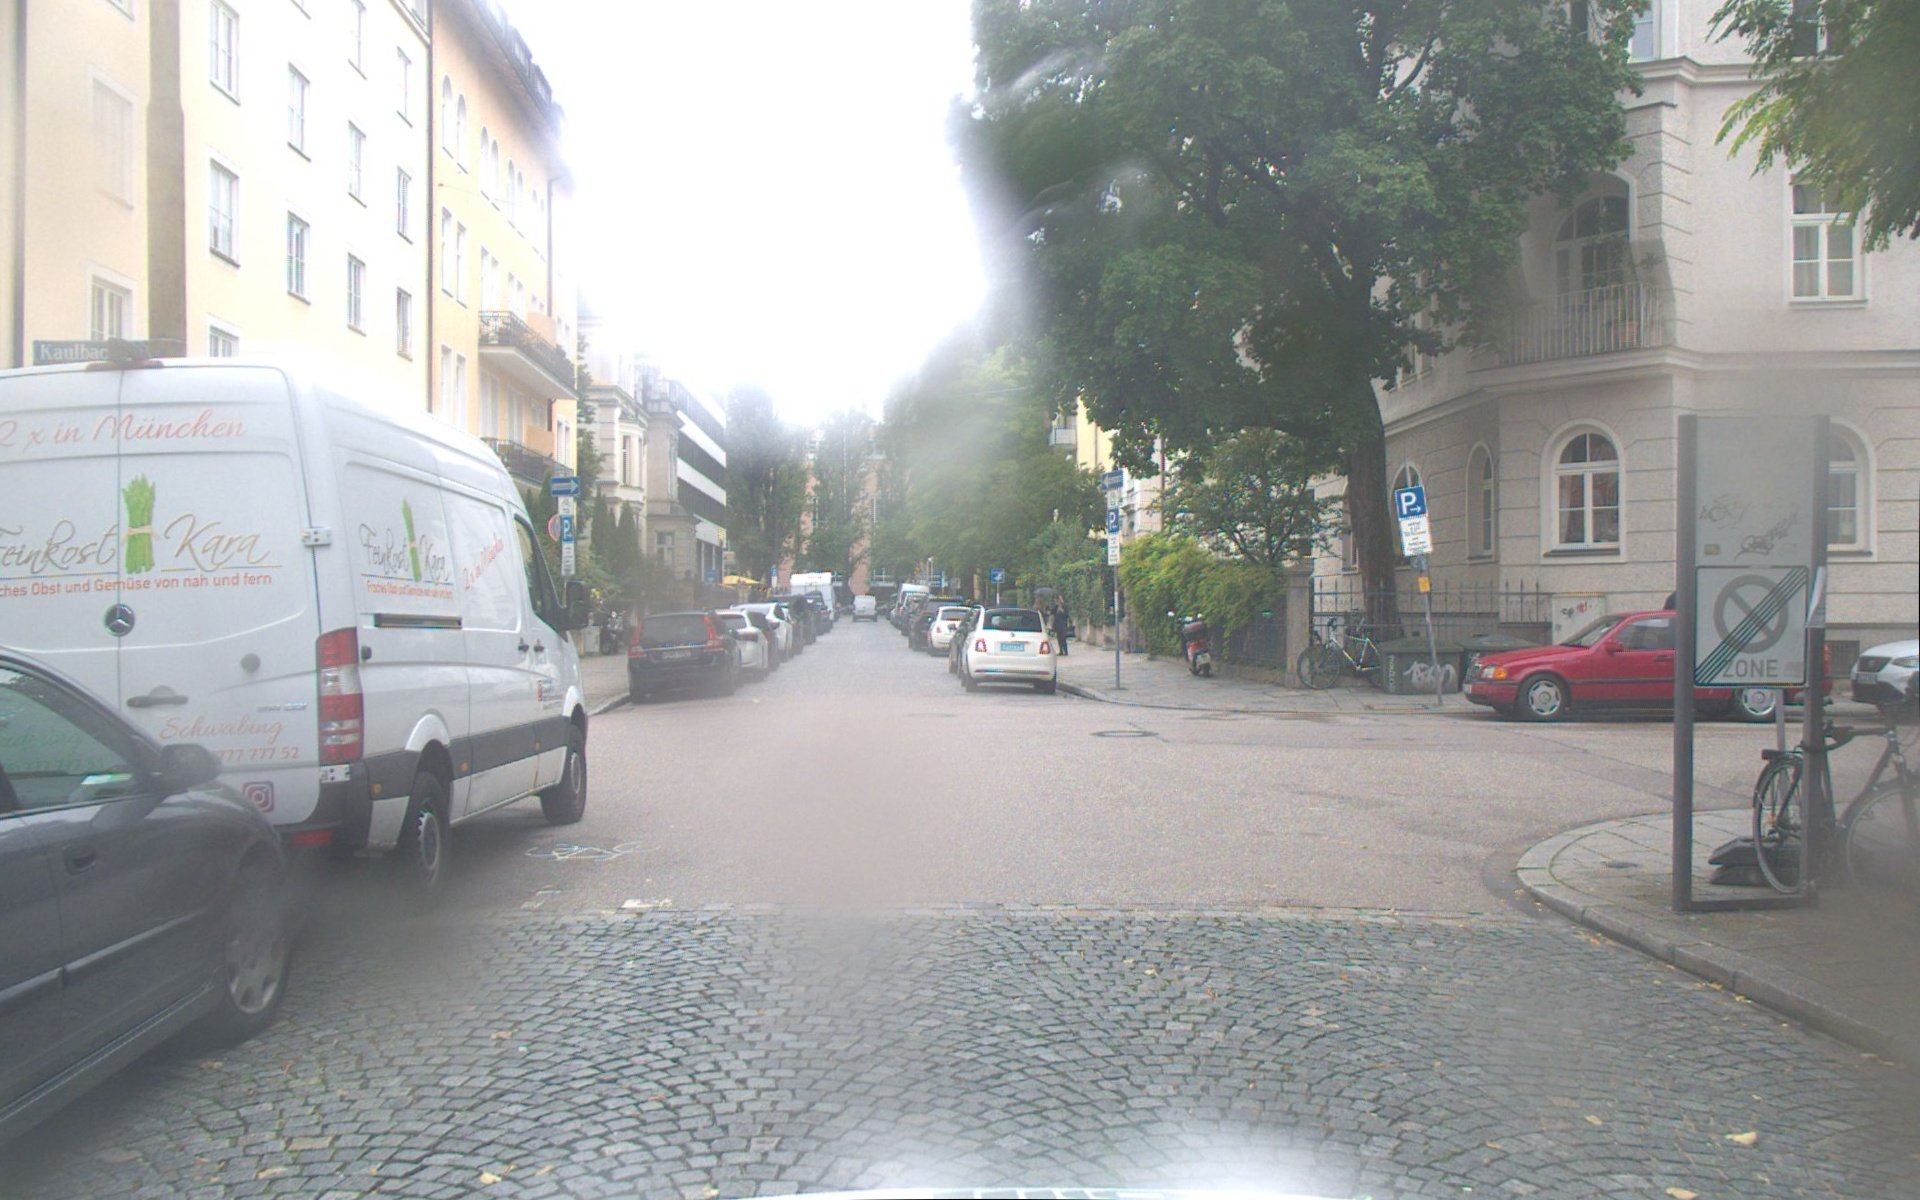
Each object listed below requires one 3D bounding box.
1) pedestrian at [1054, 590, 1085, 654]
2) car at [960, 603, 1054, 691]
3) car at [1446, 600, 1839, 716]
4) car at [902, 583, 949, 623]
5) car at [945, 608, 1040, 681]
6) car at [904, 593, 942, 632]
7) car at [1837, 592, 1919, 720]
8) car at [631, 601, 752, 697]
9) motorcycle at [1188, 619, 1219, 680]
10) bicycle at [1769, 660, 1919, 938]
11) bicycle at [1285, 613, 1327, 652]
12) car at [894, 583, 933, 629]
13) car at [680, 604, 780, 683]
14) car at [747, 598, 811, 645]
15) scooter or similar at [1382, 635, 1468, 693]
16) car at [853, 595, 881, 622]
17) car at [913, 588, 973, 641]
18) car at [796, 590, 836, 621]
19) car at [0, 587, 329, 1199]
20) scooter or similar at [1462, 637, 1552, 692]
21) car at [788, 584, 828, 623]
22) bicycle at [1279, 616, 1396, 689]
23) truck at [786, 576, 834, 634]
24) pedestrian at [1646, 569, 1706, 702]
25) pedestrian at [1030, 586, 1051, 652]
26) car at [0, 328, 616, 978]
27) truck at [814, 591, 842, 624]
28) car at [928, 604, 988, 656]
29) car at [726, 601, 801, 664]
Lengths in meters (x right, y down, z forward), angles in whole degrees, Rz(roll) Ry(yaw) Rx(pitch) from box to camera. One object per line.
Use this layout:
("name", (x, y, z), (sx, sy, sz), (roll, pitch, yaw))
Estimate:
("pedestrian", (3.167, 0.640, 47.821), (0.649, 1.840, 0.626), (0, -1, 43))
("car", (0.809, 0.823, 30.387), (1.471, 1.497, 3.793), (1, 0, -2))
("car", (8.738, 0.730, 21.463), (4.373, 1.382, 1.761), (-1, 0, 4))
("car", (-1.617, 0.145, 76.368), (1.924, 1.789, 4.950), (0, 0, -4))
("car", (0.666, 0.936, 36.851), (1.616, 1.447, 4.628), (3, 0, -4))
("car", (-2.024, 0.658, 89.540), (1.765, 1.983, 4.856), (2, 0, -4))
("car", (13.323, 0.664, 20.736), (3.805, 1.548, 1.566), (0, 0, 2))
("car", (-4.806, 0.827, 30.190), (1.816, 1.614, 4.743), (0, 0, -5))
("motorcycle", (4.594, 0.919, 31.210), (0.355, 1.109, 1.403), (0, 0, -1))
("bicycle", (4.443, 0.901, 7.971), (0.380, 1.167, 1.590), (-1, 0, 4))
("bicycle", (7.525, 0.693, 36.046), (0.481, 0.826, 2.274), (0, 0, 1))
("car", (-2.686, 0.291, 95.029), (1.858, 2.469, 5.607), (3, 0, -4))
("car", (-4.822, 0.865, 35.126), (1.738, 1.563, 4.537), (0, 0, -3))
("car", (-5.748, 0.671, 52.873), (1.738, 1.454, 4.388), (0, 0, -3))
("scooter or similar", (7.285, 0.998, 25.974), (1.158, 0.863, 0.925), (0, 0, 6))
("car", (-6.717, 0.617, 119.936), (1.956, 1.970, 3.998), (0, 0, -2))
("car", (-0.621, 0.467, 56.011), (1.837, 1.702, 5.488), (0, 0, -3))
("car", (-7.112, 0.287, 82.067), (1.902, 1.485, 4.054), (0, 0, -4))
("car", (-3.076, 0.738, 4.318), (1.629, 1.508, 3.977), (-1, 0, -5))
("scooter or similar", (8.573, 1.010, 25.958), (1.211, 0.840, 0.697), (0, 0, 6))
("car", (-7.050, 0.179, 76.893), (1.739, 1.748, 4.387), (0, 0, -4))
("bicycle", (6.130, 0.850, 26.904), (1.798, 1.144, 0.563), (-1, 0, 6))
("truck", (-8.408, 0.236, 93.353), (2.459, 3.084, 6.379), (-2, 1, -4))
("pedestrian", (10.417, 0.506, 24.078), (0.484, 1.909, 0.741), (0, 0, -8))
("pedestrian", (2.321, 0.545, 47.470), (0.563, 1.882, 0.682), (-1, 0, 4))
("car", (-3.572, 0.229, 9.704), (1.937, 2.619, 5.792), (-2, 0, -1))
("truck", (-9.726, 0.530, 122.222), (1.954, 2.388, 4.065), (0, 0, -3))
("car", (-0.104, 0.896, 50.897), (1.598, 1.495, 3.656), (2, 0, -3))
("car", (-5.451, 0.864, 46.339), (1.738, 1.676, 4.389), (0, 0, -2))
